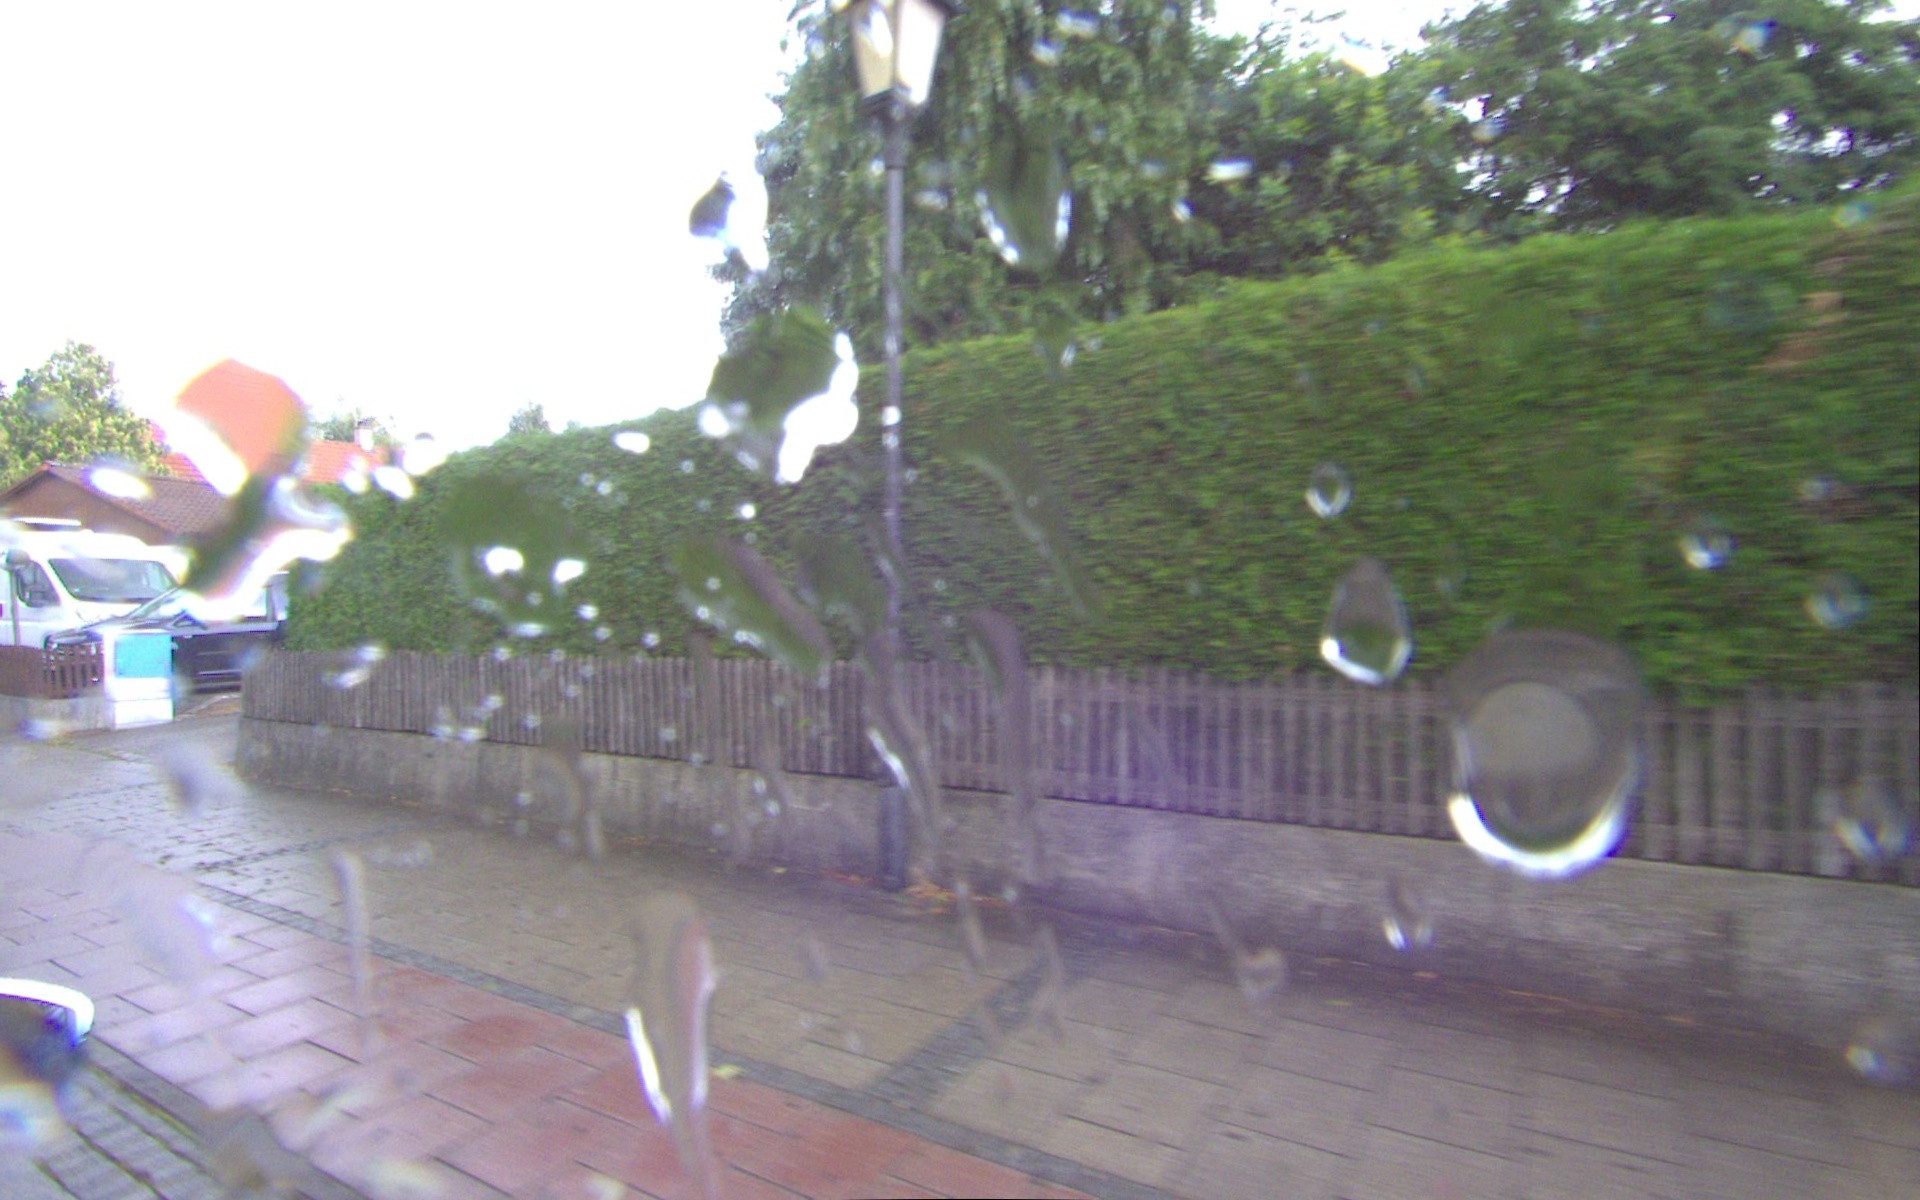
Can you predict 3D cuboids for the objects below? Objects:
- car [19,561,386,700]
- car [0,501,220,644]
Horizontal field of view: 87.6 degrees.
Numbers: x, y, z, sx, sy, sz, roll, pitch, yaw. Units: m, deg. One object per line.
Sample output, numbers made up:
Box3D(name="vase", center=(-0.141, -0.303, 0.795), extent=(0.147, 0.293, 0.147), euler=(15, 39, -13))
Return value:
Box3D(name="car", center=(-11.103, 0.377, 15.018), extent=(1.668, 1.775, 4.089), euler=(2, 1, 29))
Box3D(name="car", center=(-15.530, -0.352, 17.315), extent=(4.866, 2.201, 1.997), euler=(-1, -2, 19))
